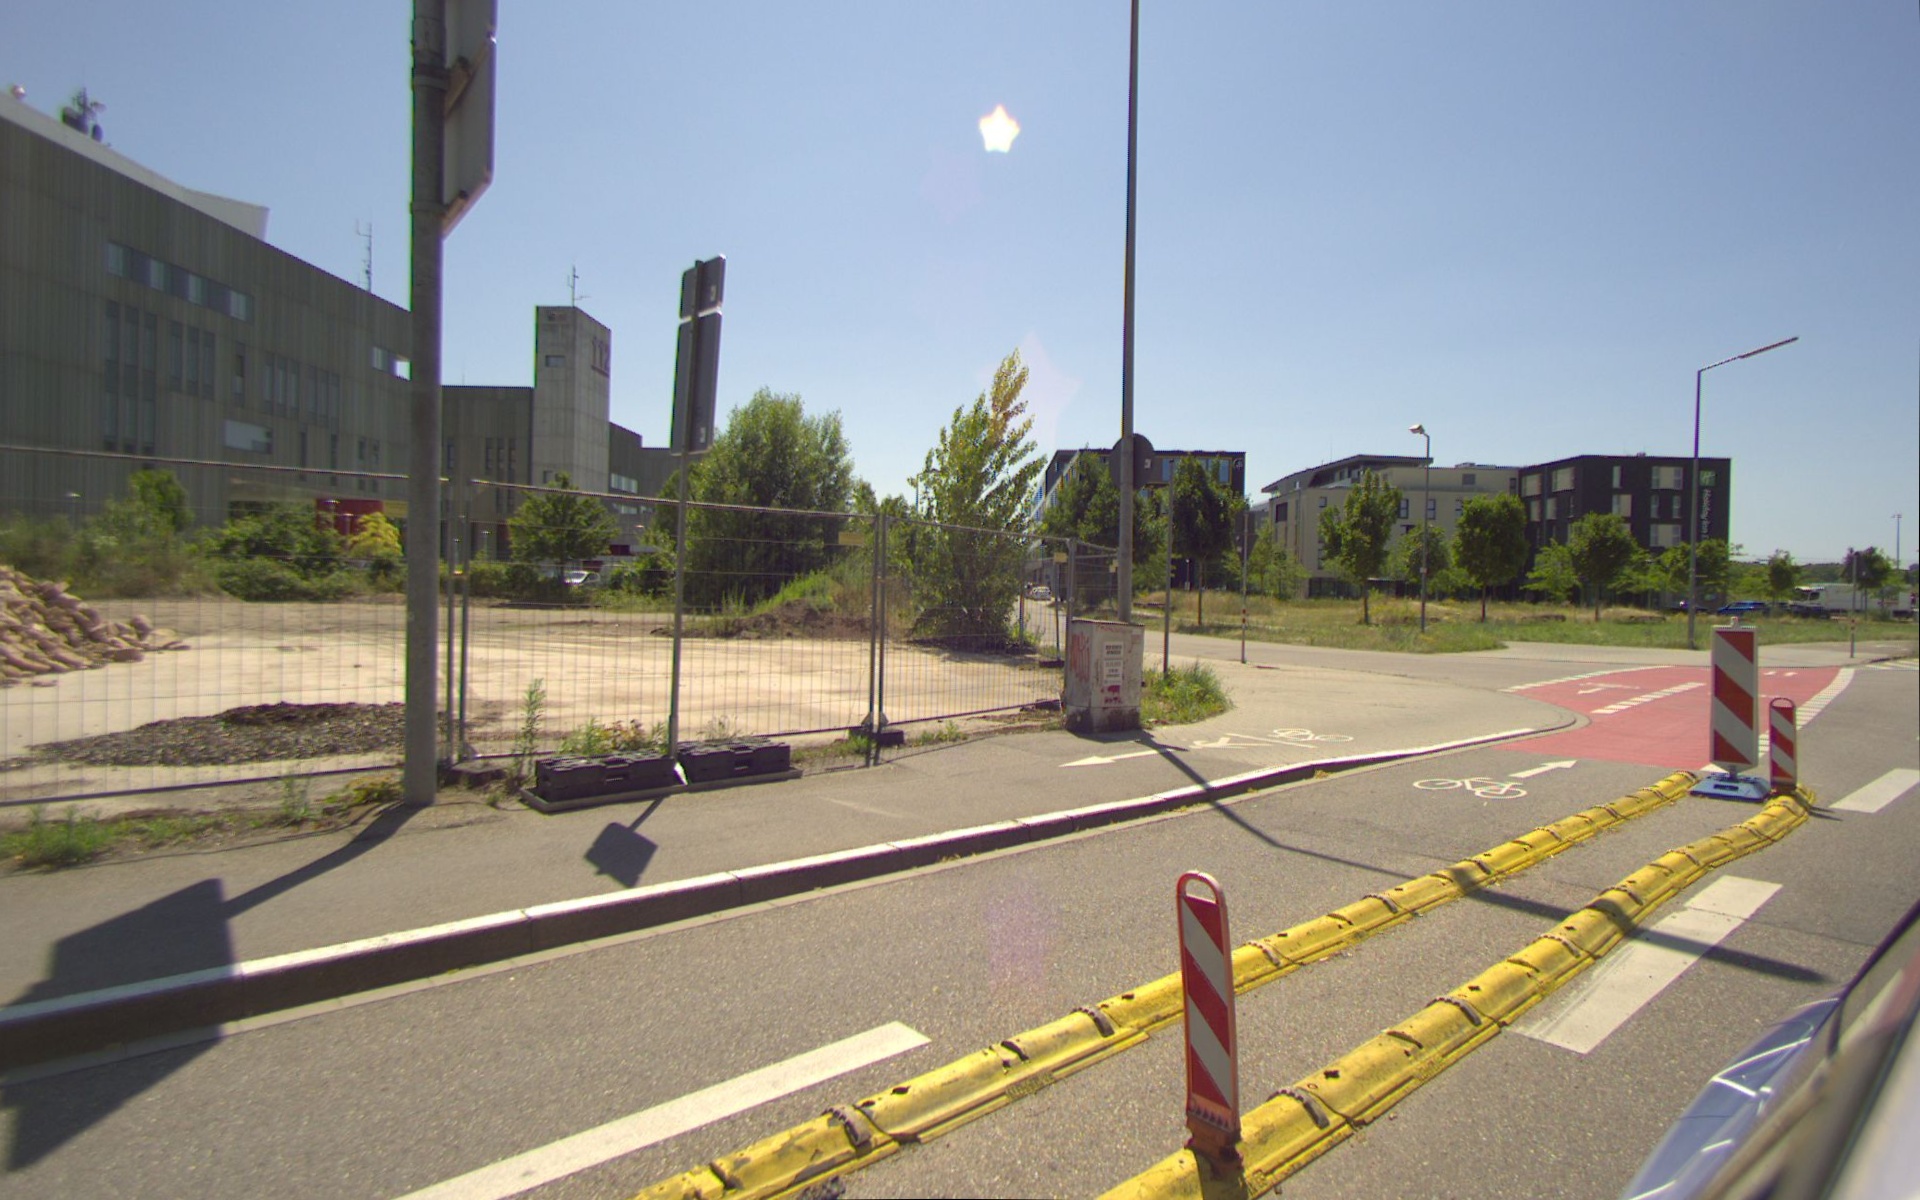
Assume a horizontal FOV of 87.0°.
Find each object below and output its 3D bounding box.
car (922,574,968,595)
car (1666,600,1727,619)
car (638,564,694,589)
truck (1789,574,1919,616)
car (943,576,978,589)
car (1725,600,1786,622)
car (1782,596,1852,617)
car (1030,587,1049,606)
[{"bbox_3d":[-1.649,-1.740,113.917,5.066,2.142,2.235,2,1,3],"label":"car"},{"bbox_3d":[62.489,0.791,85.955,1.923,1.462,4.131,2,1,-4],"label":"car"},{"bbox_3d":[-18.230,-1.463,63.097,1.962,1.454,5.081,2,1,0],"label":"car"},{"bbox_3d":[85.994,-0.506,95.752,11.919,3.503,3.017,2,3,4],"label":"truck"},{"bbox_3d":[0.065,-2.318,131.745,4.438,1.529,1.804,2,1,-1],"label":"car"},{"bbox_3d":[67.381,0.885,85.755,1.918,1.672,4.071,2,1,1],"label":"car"},{"bbox_3d":[71.933,0.563,85.068,1.993,1.581,4.509,2,1,0],"label":"car"},{"bbox_3d":[8.576,-0.387,108.963,1.924,1.953,3.490,1,0,3],"label":"car"}]
